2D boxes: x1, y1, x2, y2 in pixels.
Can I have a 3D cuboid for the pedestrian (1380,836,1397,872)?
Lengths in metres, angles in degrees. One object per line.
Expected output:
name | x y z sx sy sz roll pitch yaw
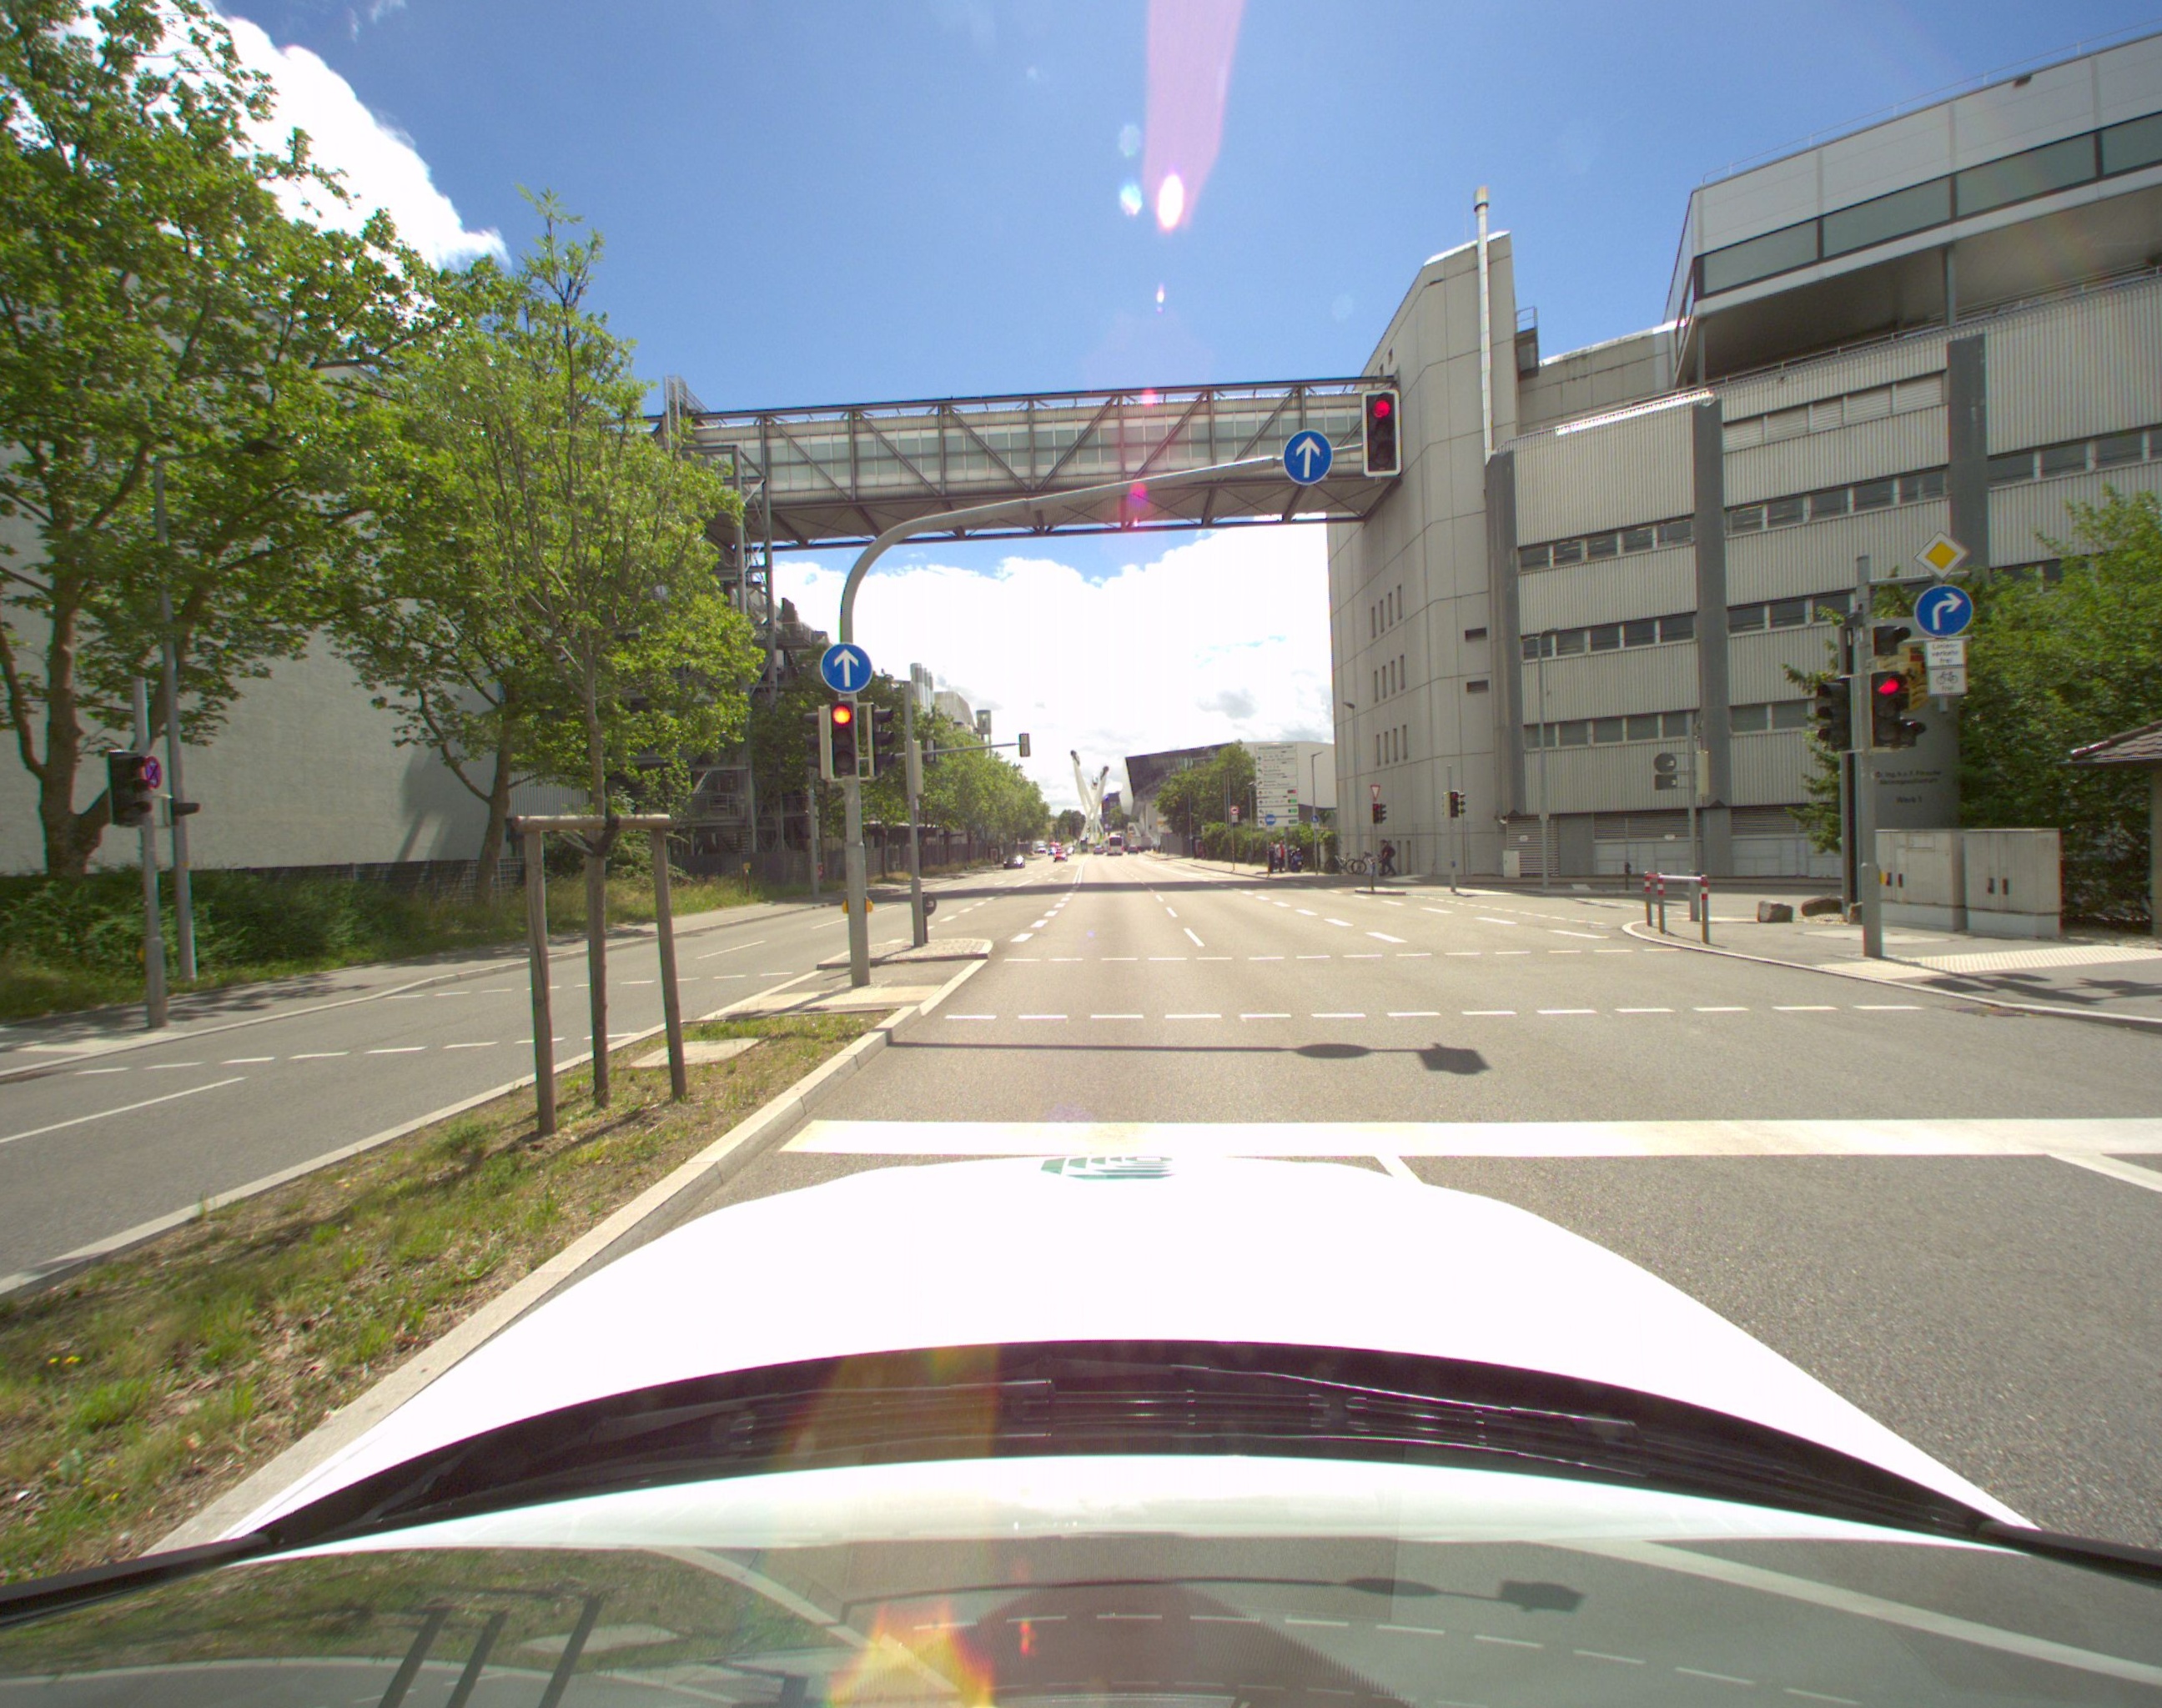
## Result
pedestrian | 13.973 0.009 37.029 0.650 1.640 0.538 -1 -1 30

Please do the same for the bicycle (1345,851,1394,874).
bicycle | 13.653 0.395 38.589 2.166 1.086 0.480 -1 -1 37

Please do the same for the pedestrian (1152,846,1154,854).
pedestrian | 12.223 -0.689 137.912 0.384 1.421 0.424 0 -1 2

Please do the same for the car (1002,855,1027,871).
car | -6.878 0.890 85.163 1.910 1.488 4.775 -4 0 3

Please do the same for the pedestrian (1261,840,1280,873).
pedestrian | 10.487 0.130 45.145 0.642 1.793 0.709 -4 0 -14

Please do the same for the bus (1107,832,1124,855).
bus | 5.883 -1.727 139.214 2.776 3.686 6.947 0 -1 3

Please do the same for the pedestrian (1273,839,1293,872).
pedestrian | 11.192 0.077 45.109 0.692 1.793 0.709 -4 0 -14

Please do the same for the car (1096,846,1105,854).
car | 3.569 -0.722 148.852 1.551 1.273 3.704 -4 0 3

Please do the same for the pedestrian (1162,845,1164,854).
pedestrian | 13.932 -0.767 137.991 0.384 1.421 0.424 0 -1 2

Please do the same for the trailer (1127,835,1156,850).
trailer | 12.840 -2.435 172.119 3.291 2.995 10.429 -1 -1 21

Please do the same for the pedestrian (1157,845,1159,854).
pedestrian | 12.956 -0.762 137.456 0.384 1.421 0.424 0 -1 2

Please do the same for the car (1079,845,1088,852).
car | 0.476 -1.077 156.069 1.551 1.273 3.704 -4 0 3

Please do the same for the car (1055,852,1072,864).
car | -2.232 0.539 105.108 1.762 1.420 3.704 -4 0 3

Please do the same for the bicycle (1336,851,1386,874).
bicycle | 13.522 0.402 39.363 2.196 1.086 0.480 -1 -1 37

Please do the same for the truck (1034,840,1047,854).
truck | -9.899 -1.669 200.174 2.581 3.324 7.083 0 -1 3

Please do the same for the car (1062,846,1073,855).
car | -2.426 -0.606 147.570 1.762 1.420 3.704 -4 0 3

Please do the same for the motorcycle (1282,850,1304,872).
motorcycle | 11.655 0.397 44.897 0.418 1.166 1.951 0 -1 -9

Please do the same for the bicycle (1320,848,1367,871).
bicycle | 13.088 0.279 40.707 2.196 1.086 0.480 -1 -1 37

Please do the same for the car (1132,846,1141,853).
car | 9.902 -0.824 146.292 1.551 1.273 3.704 -4 0 3

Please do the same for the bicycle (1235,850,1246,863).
bicycle | 12.729 0.174 65.133 0.417 1.022 1.911 0 -1 -2

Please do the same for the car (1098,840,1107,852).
car | 4.498 -1.674 171.649 1.838 2.624 3.999 0 -1 0

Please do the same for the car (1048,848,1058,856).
car | -5.707 -0.333 166.310 1.792 1.574 4.000 -1 0 0

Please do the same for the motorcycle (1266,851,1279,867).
motorcycle | 12.178 0.337 51.874 0.455 1.022 1.914 0 -1 4
